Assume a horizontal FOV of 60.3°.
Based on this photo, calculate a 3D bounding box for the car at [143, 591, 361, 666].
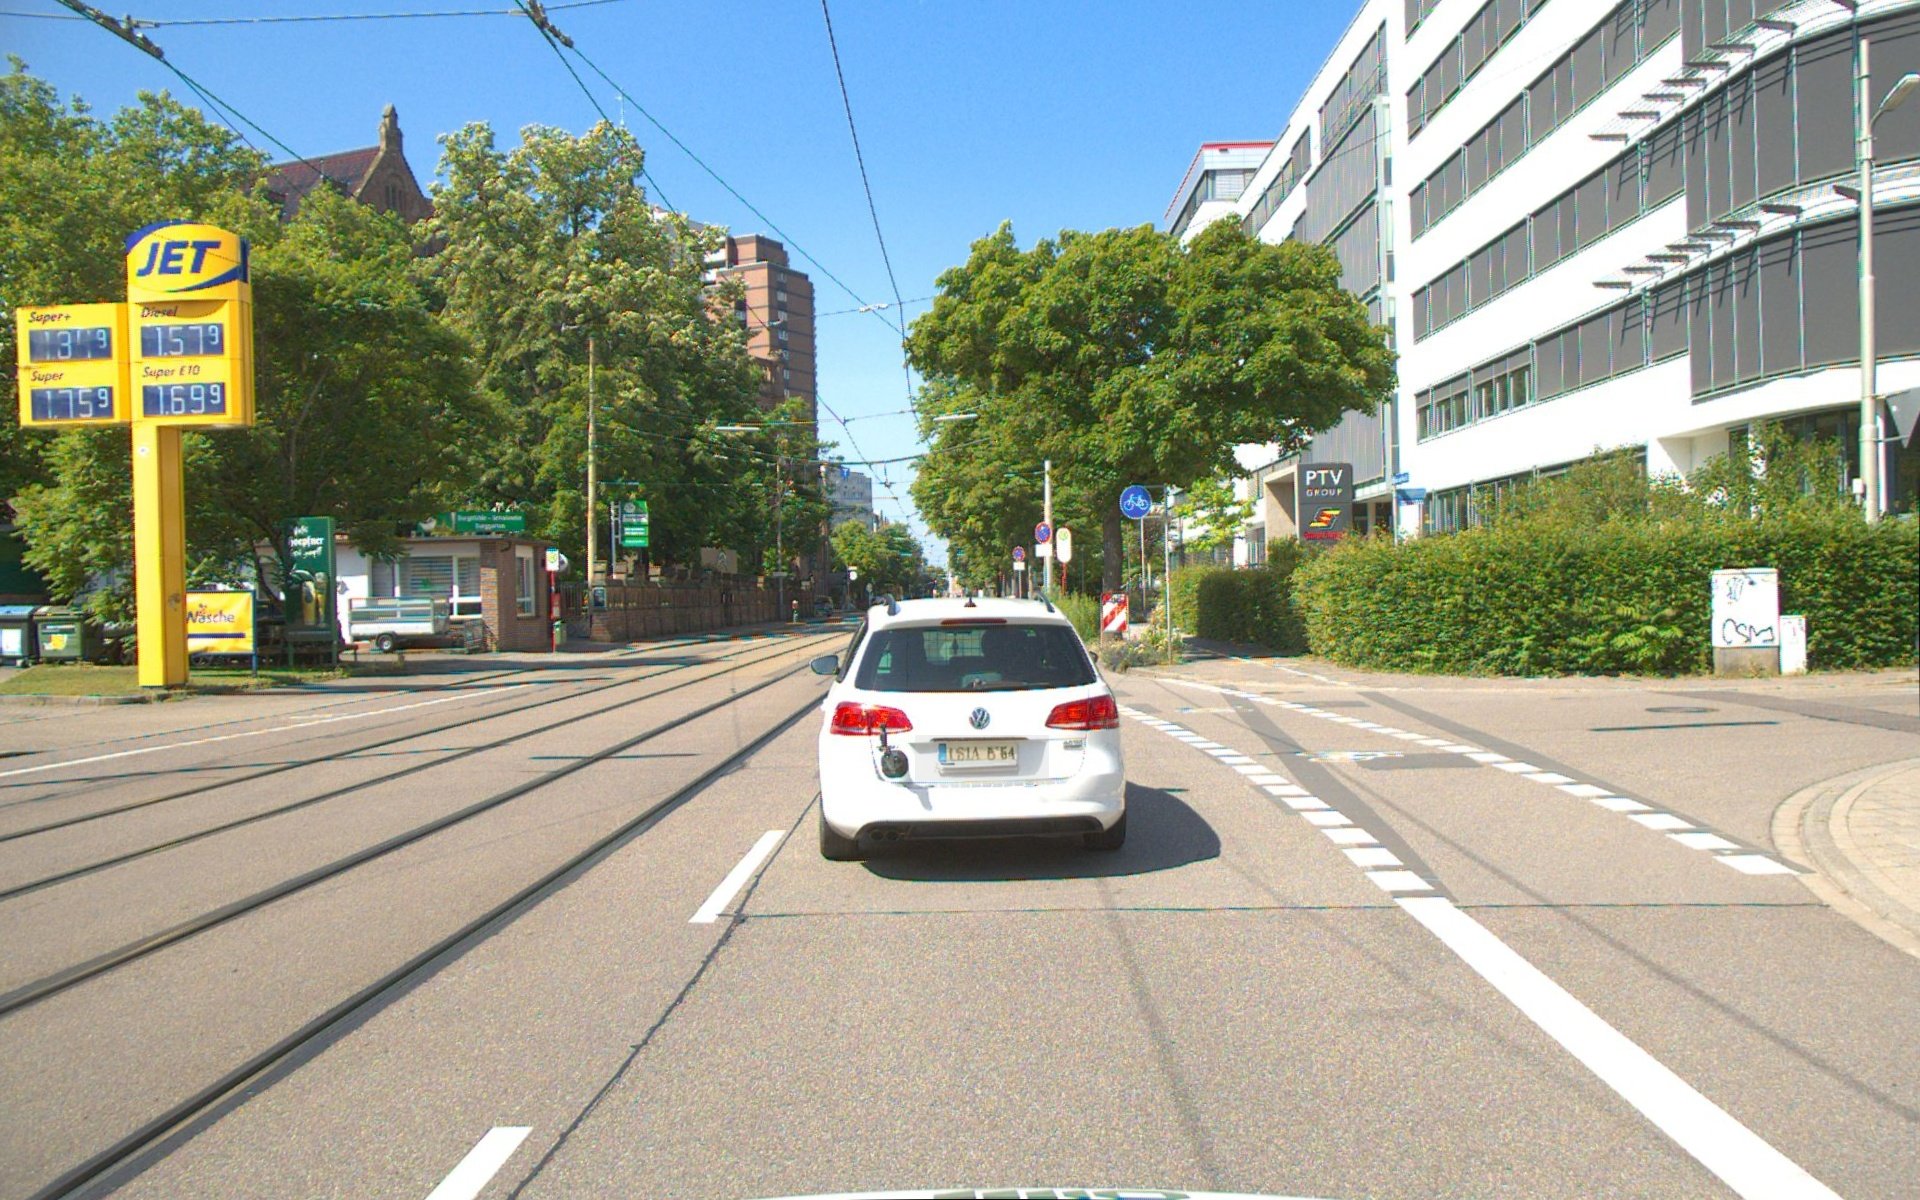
[{"bbox_3d":[-17.362,0.666,40.686,1.917,1.653,4.547,-1,0,44],"label":"car"}]

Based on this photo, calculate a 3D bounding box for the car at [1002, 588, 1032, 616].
[{"bbox_3d":[3.146,0.072,92.490,1.558,1.476,3.946,-2,0,1],"label":"car"}]

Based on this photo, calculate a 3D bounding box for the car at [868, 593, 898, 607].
[{"bbox_3d":[-11.447,-0.021,244.686,3.955,1.847,1.975,-2,0,-36],"label":"car"}]

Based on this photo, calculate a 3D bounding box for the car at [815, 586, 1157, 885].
[{"bbox_3d":[0.111,0.666,10.554,1.718,1.467,4.412,0,1,-1],"label":"car"}]

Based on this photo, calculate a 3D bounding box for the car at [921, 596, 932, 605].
[{"bbox_3d":[-5.125,0.095,254.912,1.462,1.409,3.643,-2,0,1],"label":"car"}]

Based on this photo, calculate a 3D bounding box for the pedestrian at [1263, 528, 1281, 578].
[{"bbox_3d":[11.135,-1.663,59.086,0.488,1.758,0.547,-1,0,0],"label":"pedestrian"}]

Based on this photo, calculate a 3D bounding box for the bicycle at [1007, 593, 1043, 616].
[{"bbox_3d":[3.201,0.213,81.574,1.738,1.101,0.596,-2,0,-2],"label":"bicycle"}]

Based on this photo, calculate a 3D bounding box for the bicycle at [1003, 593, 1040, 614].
[{"bbox_3d":[3.243,0.183,87.169,1.873,1.102,0.550,1,0,-2],"label":"bicycle"}]

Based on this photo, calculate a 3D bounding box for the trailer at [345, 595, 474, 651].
[{"bbox_3d":[-16.214,0.658,48.794,3.149,1.552,1.778,-1,0,1],"label":"trailer"}]

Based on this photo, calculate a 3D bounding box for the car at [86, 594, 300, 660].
[{"bbox_3d":[-19.452,0.660,42.080,1.917,1.493,4.547,-1,0,44],"label":"car"}]

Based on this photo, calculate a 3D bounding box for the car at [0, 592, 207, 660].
[{"bbox_3d":[-22.315,0.643,43.088,1.917,1.611,4.546,-1,0,45],"label":"car"}]

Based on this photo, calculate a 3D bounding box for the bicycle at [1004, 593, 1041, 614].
[{"bbox_3d":[3.281,0.191,86.570,1.873,1.102,0.550,0,0,-2],"label":"bicycle"}]

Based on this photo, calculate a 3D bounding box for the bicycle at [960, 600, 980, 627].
[{"bbox_3d":[0.406,0.545,67.971,0.794,1.097,2.012,-1,0,1],"label":"bicycle"}]

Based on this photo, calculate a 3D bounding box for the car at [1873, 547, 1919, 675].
[{"bbox_3d":[12.969,0.085,19.479,3.519,1.498,1.592,-1,0,1],"label":"car"}]

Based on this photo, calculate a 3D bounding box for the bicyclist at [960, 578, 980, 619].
[{"bbox_3d":[0.421,-0.067,68.100,0.769,1.658,0.738,-2,-1,0],"label":"bicyclist"}]
